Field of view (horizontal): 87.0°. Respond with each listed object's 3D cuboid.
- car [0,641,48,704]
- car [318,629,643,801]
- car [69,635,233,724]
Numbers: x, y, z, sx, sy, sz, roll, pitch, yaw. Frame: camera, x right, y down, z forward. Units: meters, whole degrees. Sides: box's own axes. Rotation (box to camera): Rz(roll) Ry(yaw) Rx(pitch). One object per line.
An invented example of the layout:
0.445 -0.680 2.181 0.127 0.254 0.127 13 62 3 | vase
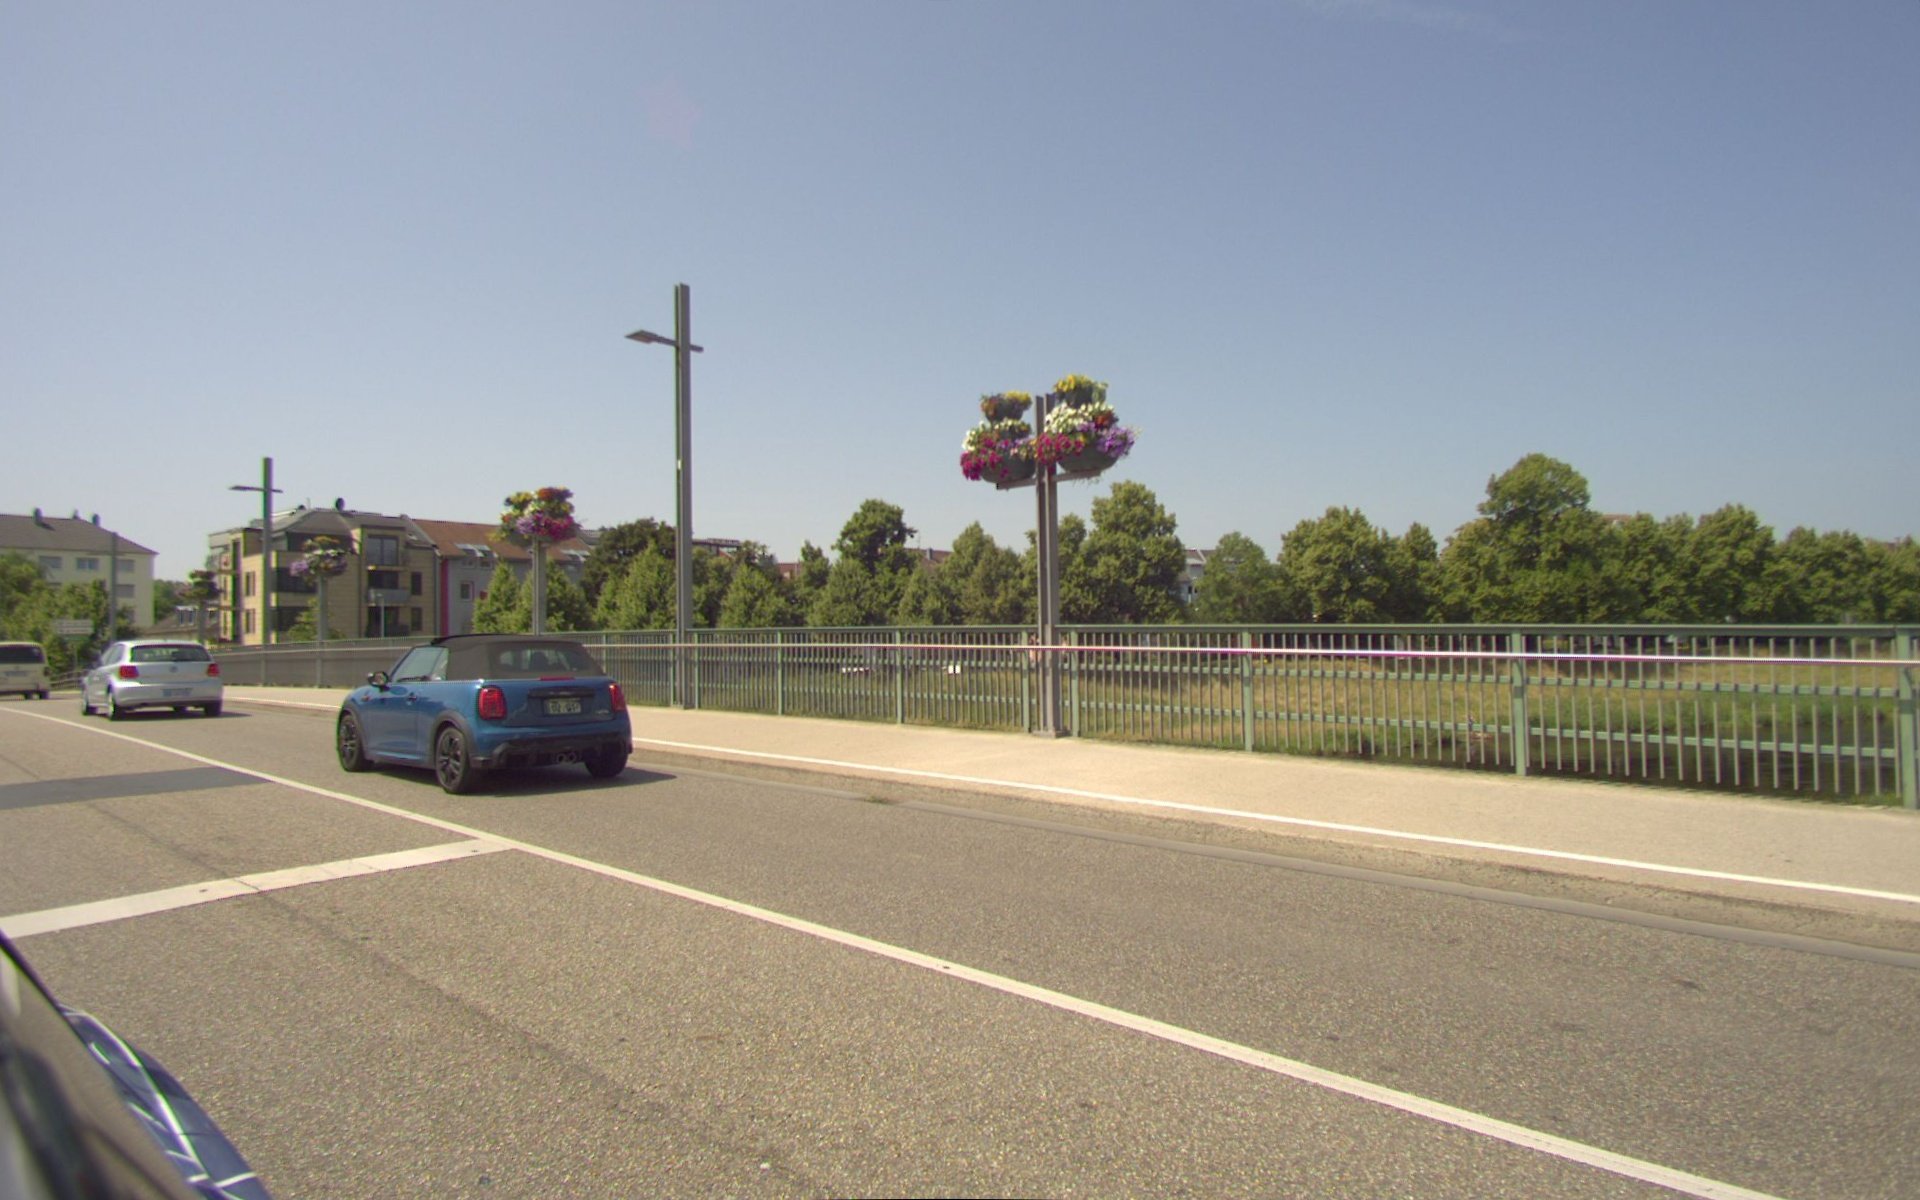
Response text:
-30.810 2.313 32.480 4.644 1.871 1.740 -3 -2 41 | car
-5.032 1.061 10.424 3.753 1.451 1.640 -3 -3 41 | car
-15.589 1.499 19.429 3.998 1.531 1.742 -3 -5 41 | car
